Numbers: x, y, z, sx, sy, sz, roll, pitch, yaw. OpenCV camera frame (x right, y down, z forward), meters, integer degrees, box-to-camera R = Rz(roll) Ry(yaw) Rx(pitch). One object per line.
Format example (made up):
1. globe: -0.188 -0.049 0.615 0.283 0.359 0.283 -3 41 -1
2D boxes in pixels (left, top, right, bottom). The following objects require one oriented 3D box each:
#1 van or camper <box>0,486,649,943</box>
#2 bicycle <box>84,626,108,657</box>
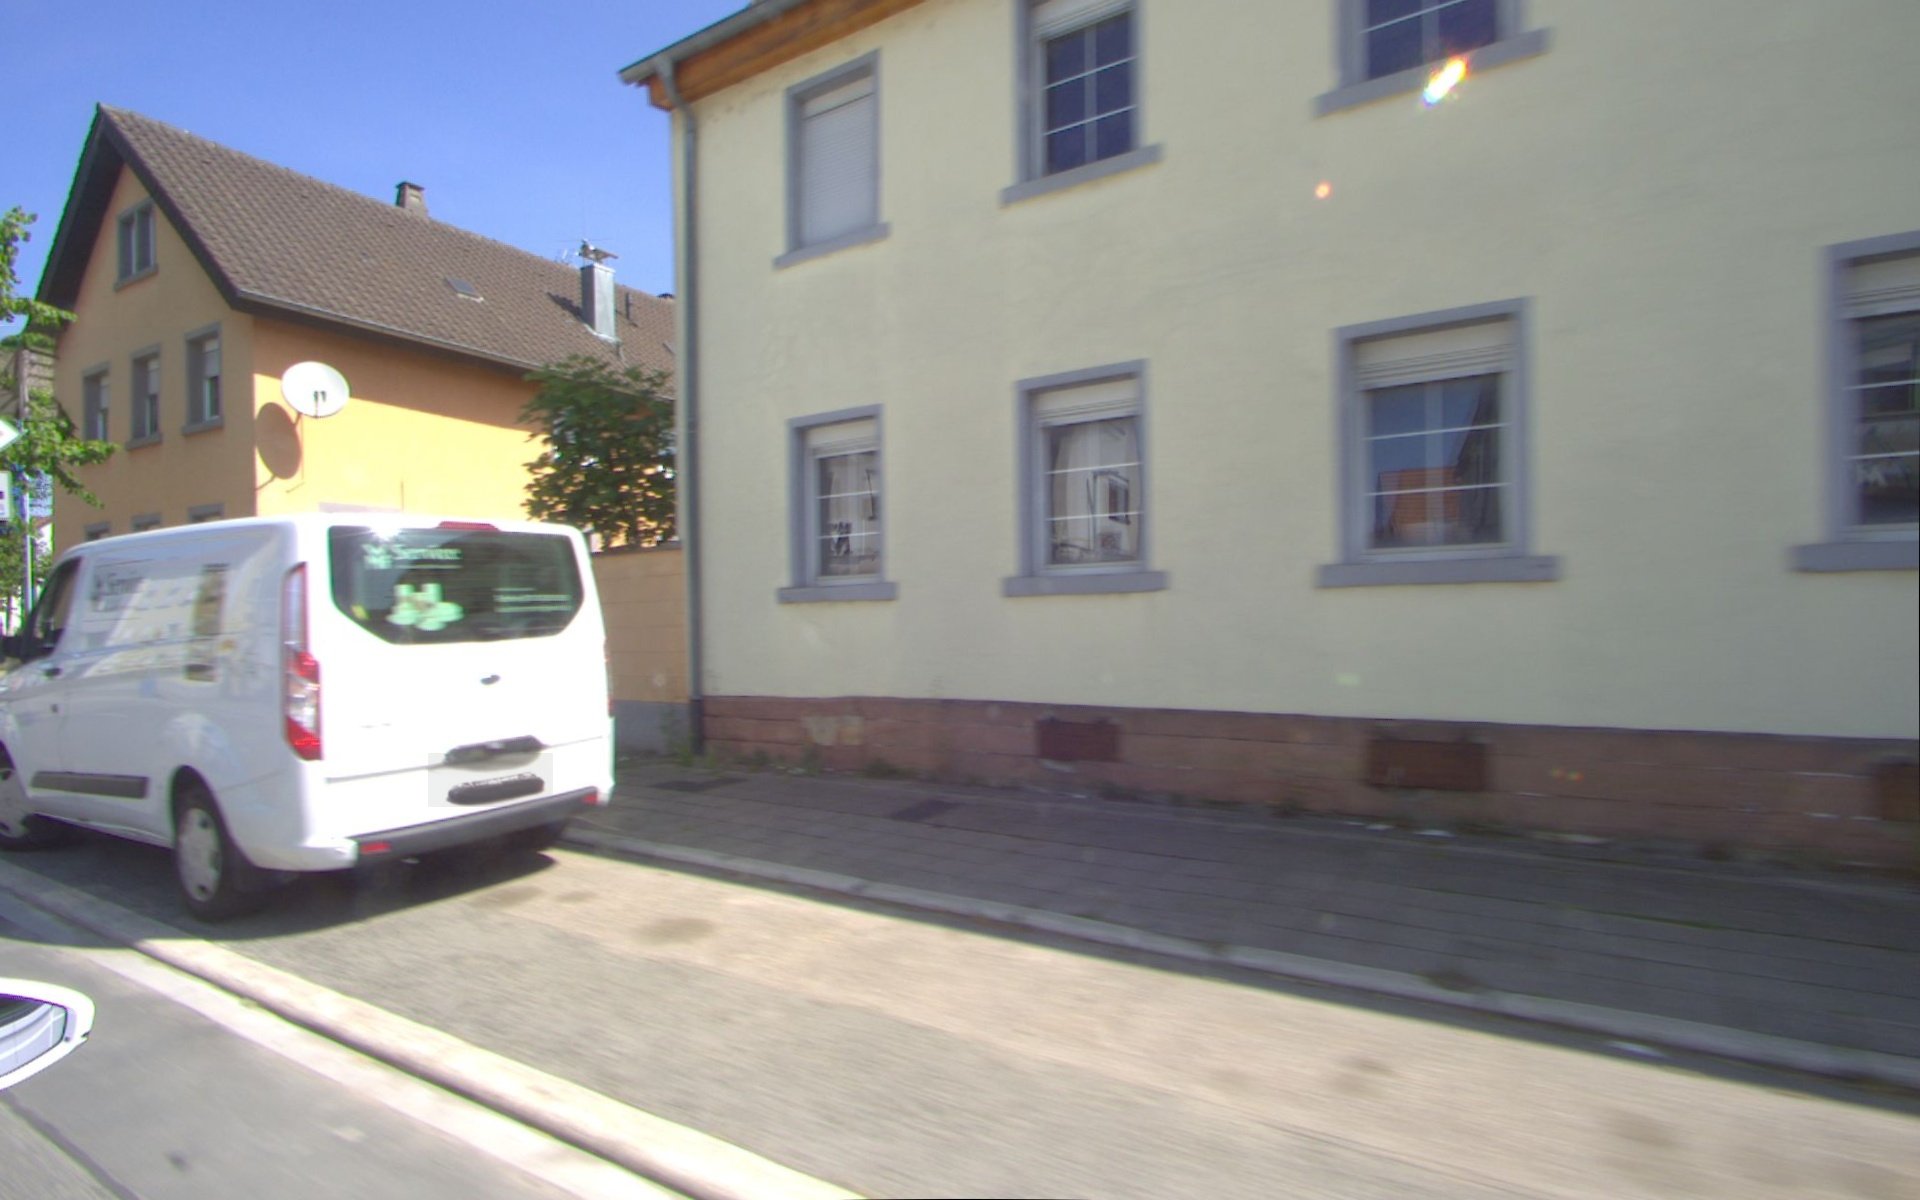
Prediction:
1. van or camper: -4.623 0.542 6.598 5.269 1.979 1.990 -1 -1 32
2. bicycle: -33.300 1.574 38.599 0.589 1.151 1.731 -1 0 -44
